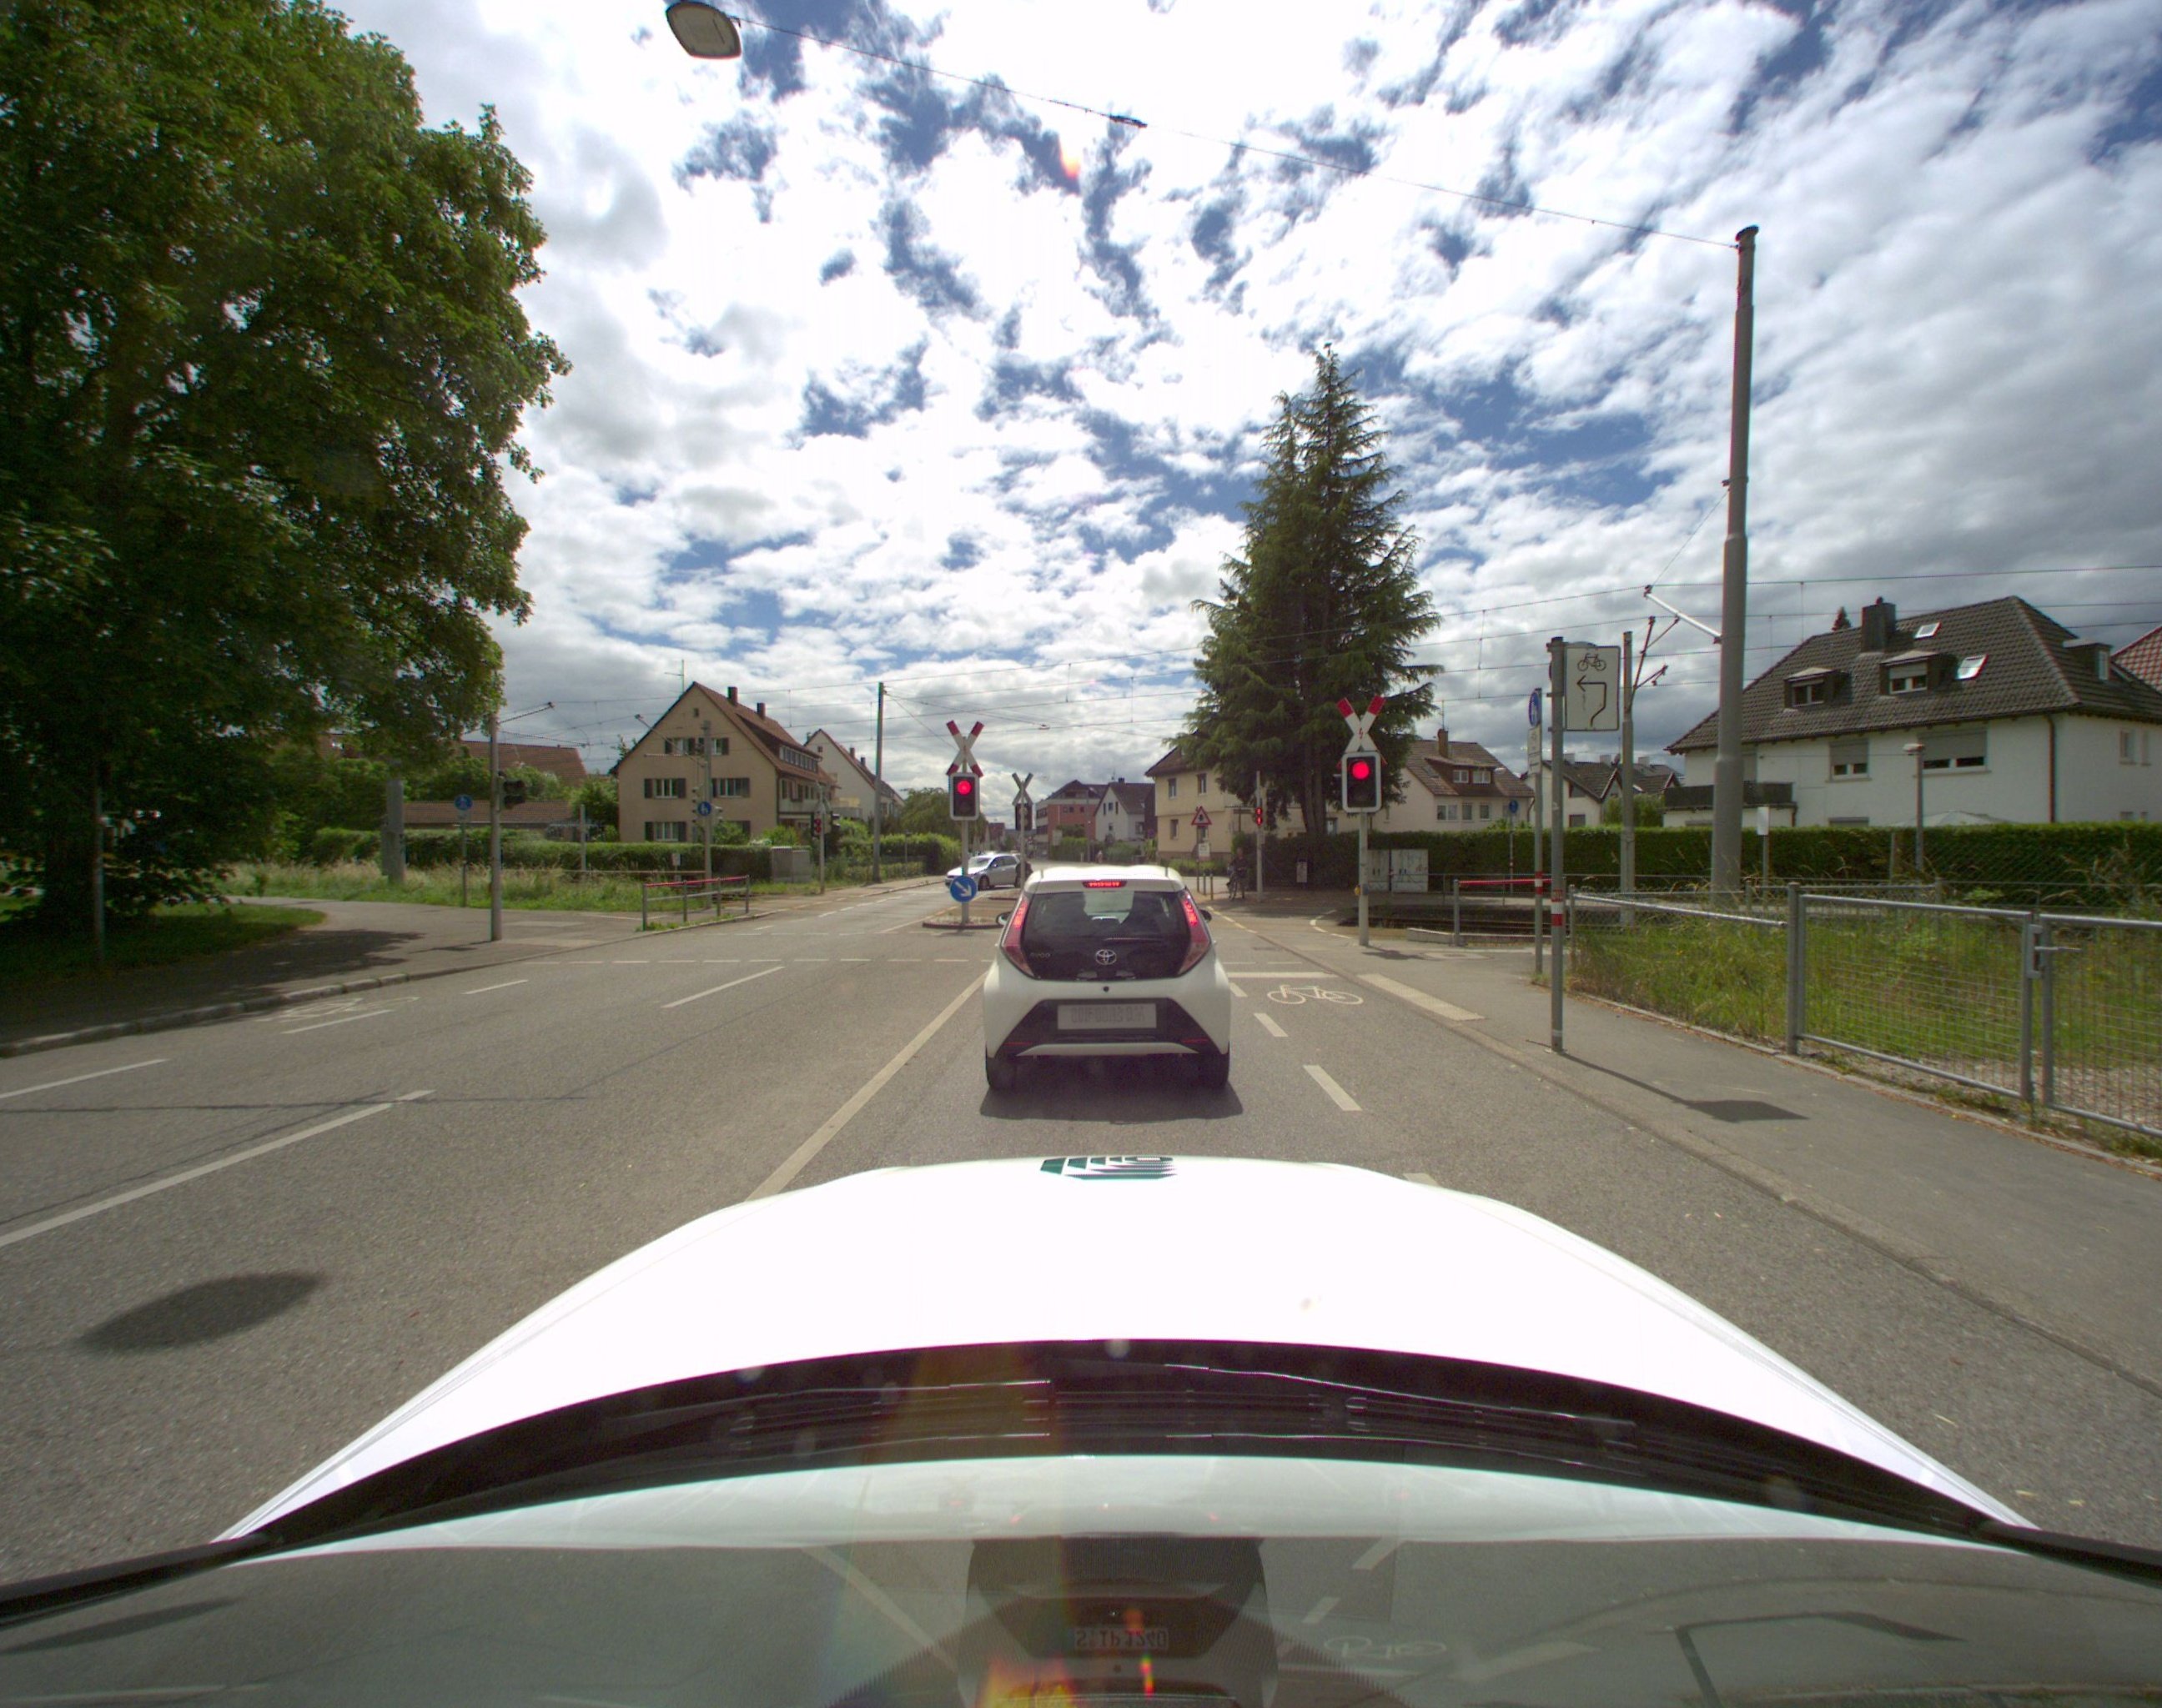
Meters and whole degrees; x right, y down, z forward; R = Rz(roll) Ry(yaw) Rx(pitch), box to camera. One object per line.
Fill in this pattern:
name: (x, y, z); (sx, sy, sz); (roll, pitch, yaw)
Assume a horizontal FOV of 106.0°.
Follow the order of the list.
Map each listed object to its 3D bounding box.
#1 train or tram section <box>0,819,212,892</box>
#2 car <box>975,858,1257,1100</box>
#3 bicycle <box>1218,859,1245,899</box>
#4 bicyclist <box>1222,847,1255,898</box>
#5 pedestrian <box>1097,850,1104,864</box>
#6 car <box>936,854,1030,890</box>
train or tram section: (-55.936, 0.022, 46.359); (18.885, 3.704, 2.936); (0, 1, 24)
car: (0.173, 0.773, 6.820); (1.716, 1.442, 3.706); (0, 0, -2)
bicycle: (4.855, 0.790, 26.326); (0.456, 1.172, 1.477); (-3, 2, -4)
bicyclist: (5.071, 0.580, 26.257); (0.839, 1.553, 0.755); (-3, 2, -4)
pedestrian: (2.179, 0.335, 91.573); (0.723, 1.576, 0.804); (0, 0, 2)
car: (-4.128, 0.718, 34.908); (1.887, 1.441, 4.124); (0, 0, 30)
